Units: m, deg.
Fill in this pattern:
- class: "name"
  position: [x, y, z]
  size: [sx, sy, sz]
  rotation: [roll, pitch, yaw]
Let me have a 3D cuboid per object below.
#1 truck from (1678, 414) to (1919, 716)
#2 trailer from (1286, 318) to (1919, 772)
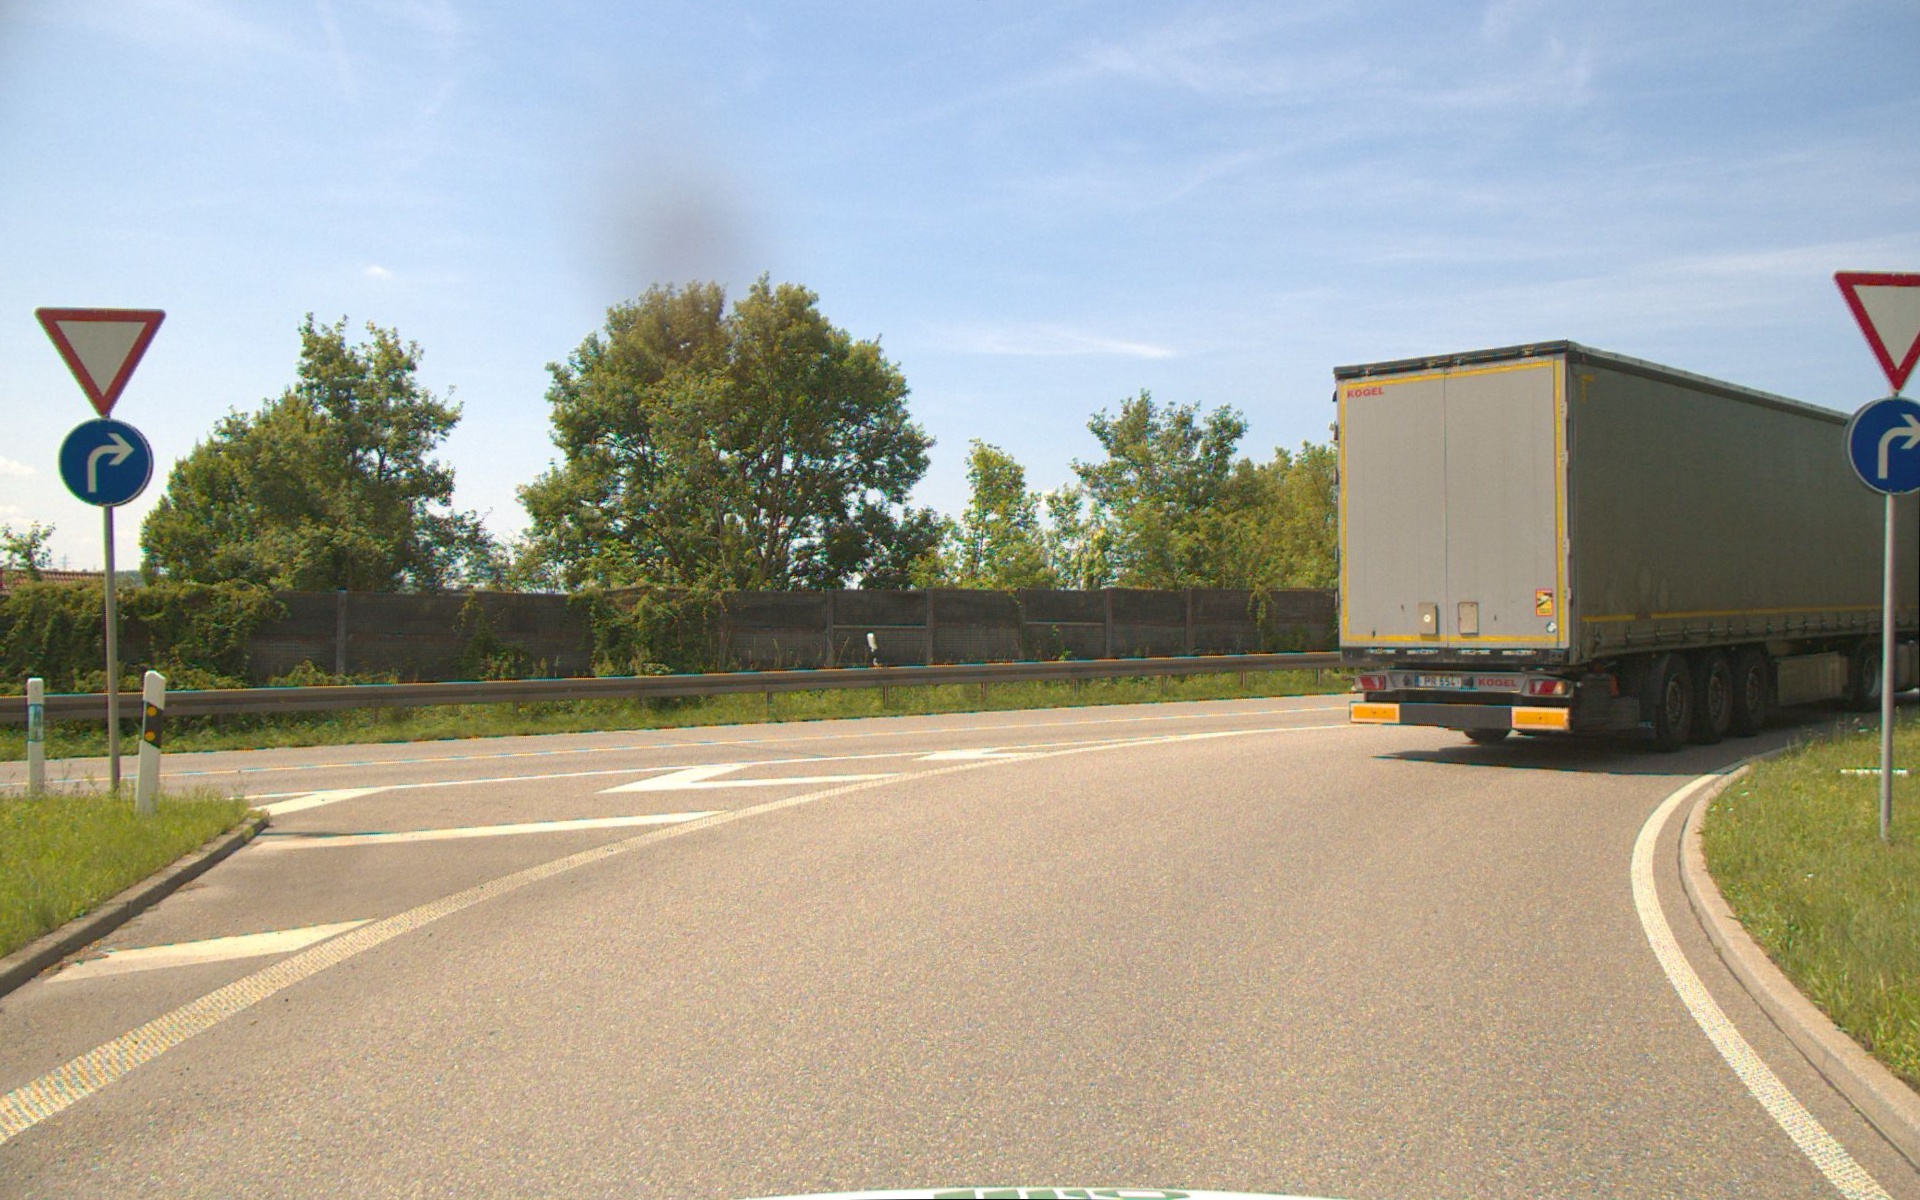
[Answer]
- class: "truck"
  position: [15.043, -0.425, 26.984]
  size: [7.046, 4.299, 3.121]
  rotation: [1, -2, -37]
- class: "trailer"
  position: [8.884, -0.428, 20.930]
  size: [2.983, 4.105, 13.269]
  rotation: [-1, -1, 42]
